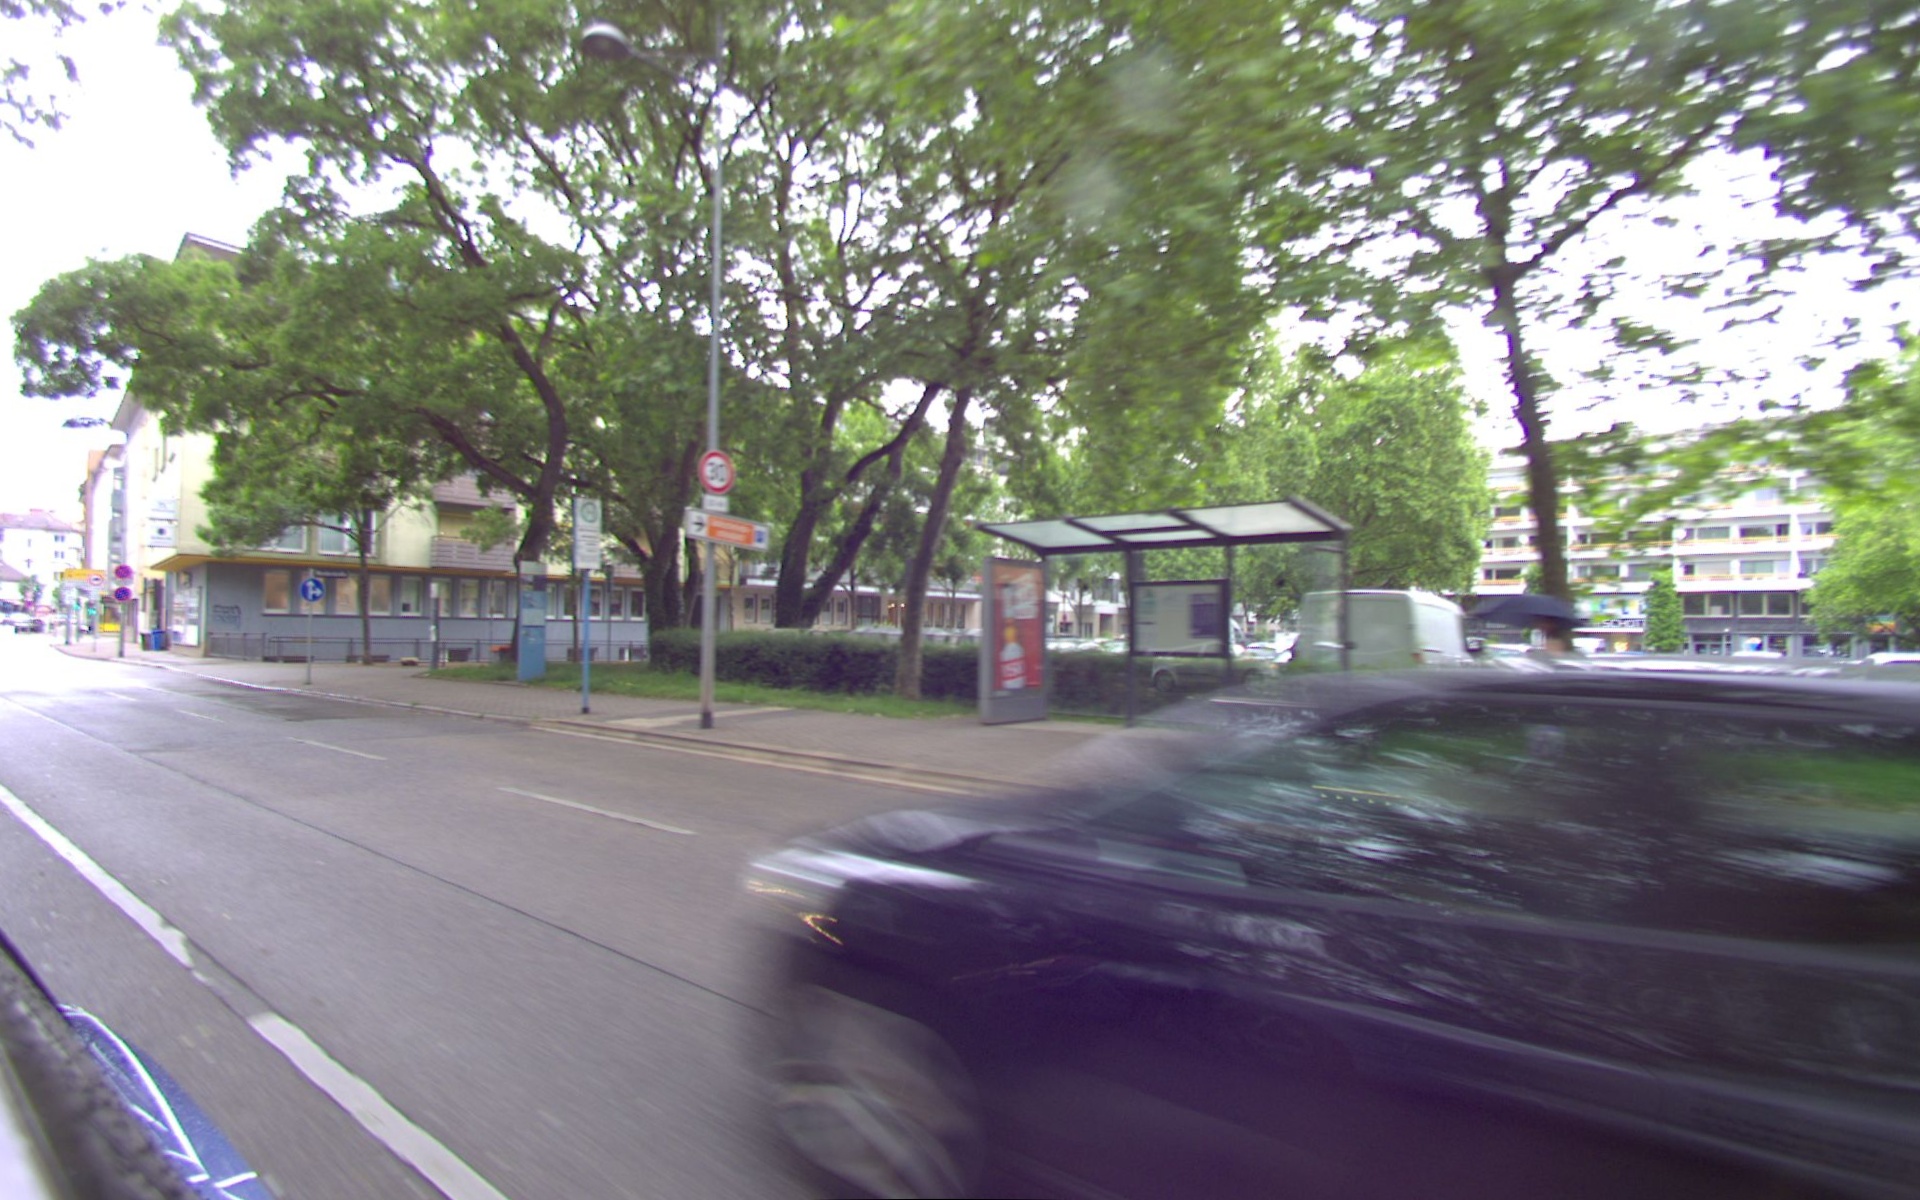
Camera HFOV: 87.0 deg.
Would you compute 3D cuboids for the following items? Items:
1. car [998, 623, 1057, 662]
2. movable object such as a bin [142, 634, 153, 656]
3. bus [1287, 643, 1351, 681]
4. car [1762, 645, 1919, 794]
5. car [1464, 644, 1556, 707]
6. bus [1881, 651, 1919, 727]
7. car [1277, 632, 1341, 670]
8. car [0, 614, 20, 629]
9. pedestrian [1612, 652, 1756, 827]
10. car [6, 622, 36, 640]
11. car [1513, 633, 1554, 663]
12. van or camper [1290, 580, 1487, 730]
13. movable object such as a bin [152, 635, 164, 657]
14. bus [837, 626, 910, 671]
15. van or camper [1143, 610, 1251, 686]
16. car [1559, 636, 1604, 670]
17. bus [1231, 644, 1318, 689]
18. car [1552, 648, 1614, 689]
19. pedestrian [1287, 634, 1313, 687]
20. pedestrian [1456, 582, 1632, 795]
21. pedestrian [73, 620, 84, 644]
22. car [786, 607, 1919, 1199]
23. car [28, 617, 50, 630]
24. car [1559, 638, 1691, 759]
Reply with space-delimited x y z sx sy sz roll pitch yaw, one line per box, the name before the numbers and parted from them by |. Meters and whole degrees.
car | 3.744 2.330 55.455 1.987 2.029 3.968 0 -3 23
movable object such as a bin | -38.605 2.153 48.102 0.333 1.037 0.354 4 -4 -42
bus | 15.721 2.691 44.231 1.604 1.551 3.385 -1 -3 39
car | 11.407 1.434 13.131 1.506 1.536 3.161 0 0 38
car | 13.805 1.864 25.329 1.391 1.446 3.227 -1 -4 40
bus | 19.478 1.758 20.251 1.379 1.444 2.762 -1 -3 39
car | 17.043 2.496 49.373 1.815 1.787 3.884 -1 -3 38
car | -123.905 2.830 131.748 4.001 1.866 1.971 -2 -4 44
pedestrian | 5.482 1.011 7.663 0.826 1.183 0.677 -1 -1 40
car | -91.476 3.002 98.533 4.001 1.730 1.863 -1 -4 44
car | 33.341 2.779 58.821 1.638 1.536 3.161 -1 0 38
van or camper | 7.377 0.899 17.144 2.045 2.186 4.439 0 -3 37
movable object such as a bin | -38.278 2.199 48.305 0.409 1.037 0.354 4 -4 -43
bus | -3.823 2.190 45.480 1.703 1.939 3.698 0 -3 23
van or camper | 8.570 1.713 36.375 2.096 2.556 4.368 -1 -3 39
car | 31.825 2.705 51.789 1.638 1.536 3.161 0 0 38
bus | 10.649 2.209 34.186 1.634 1.399 3.524 -1 -3 39
car | 23.477 2.567 38.108 1.604 1.439 3.275 -1 -3 39
pedestrian | 8.003 1.420 23.830 0.484 1.222 0.433 0 0 33
pedestrian | 5.258 0.738 9.115 1.208 1.755 0.982 -1 -1 40
pedestrian | -71.745 2.607 82.381 0.586 1.858 0.565 4 -4 -42
car | 1.384 0.764 2.115 3.452 1.426 1.607 -1 -3 41
car | -121.326 3.085 133.267 4.001 1.670 1.842 -1 -4 44
car | 10.453 1.436 15.829 1.506 1.536 3.161 0 0 38
